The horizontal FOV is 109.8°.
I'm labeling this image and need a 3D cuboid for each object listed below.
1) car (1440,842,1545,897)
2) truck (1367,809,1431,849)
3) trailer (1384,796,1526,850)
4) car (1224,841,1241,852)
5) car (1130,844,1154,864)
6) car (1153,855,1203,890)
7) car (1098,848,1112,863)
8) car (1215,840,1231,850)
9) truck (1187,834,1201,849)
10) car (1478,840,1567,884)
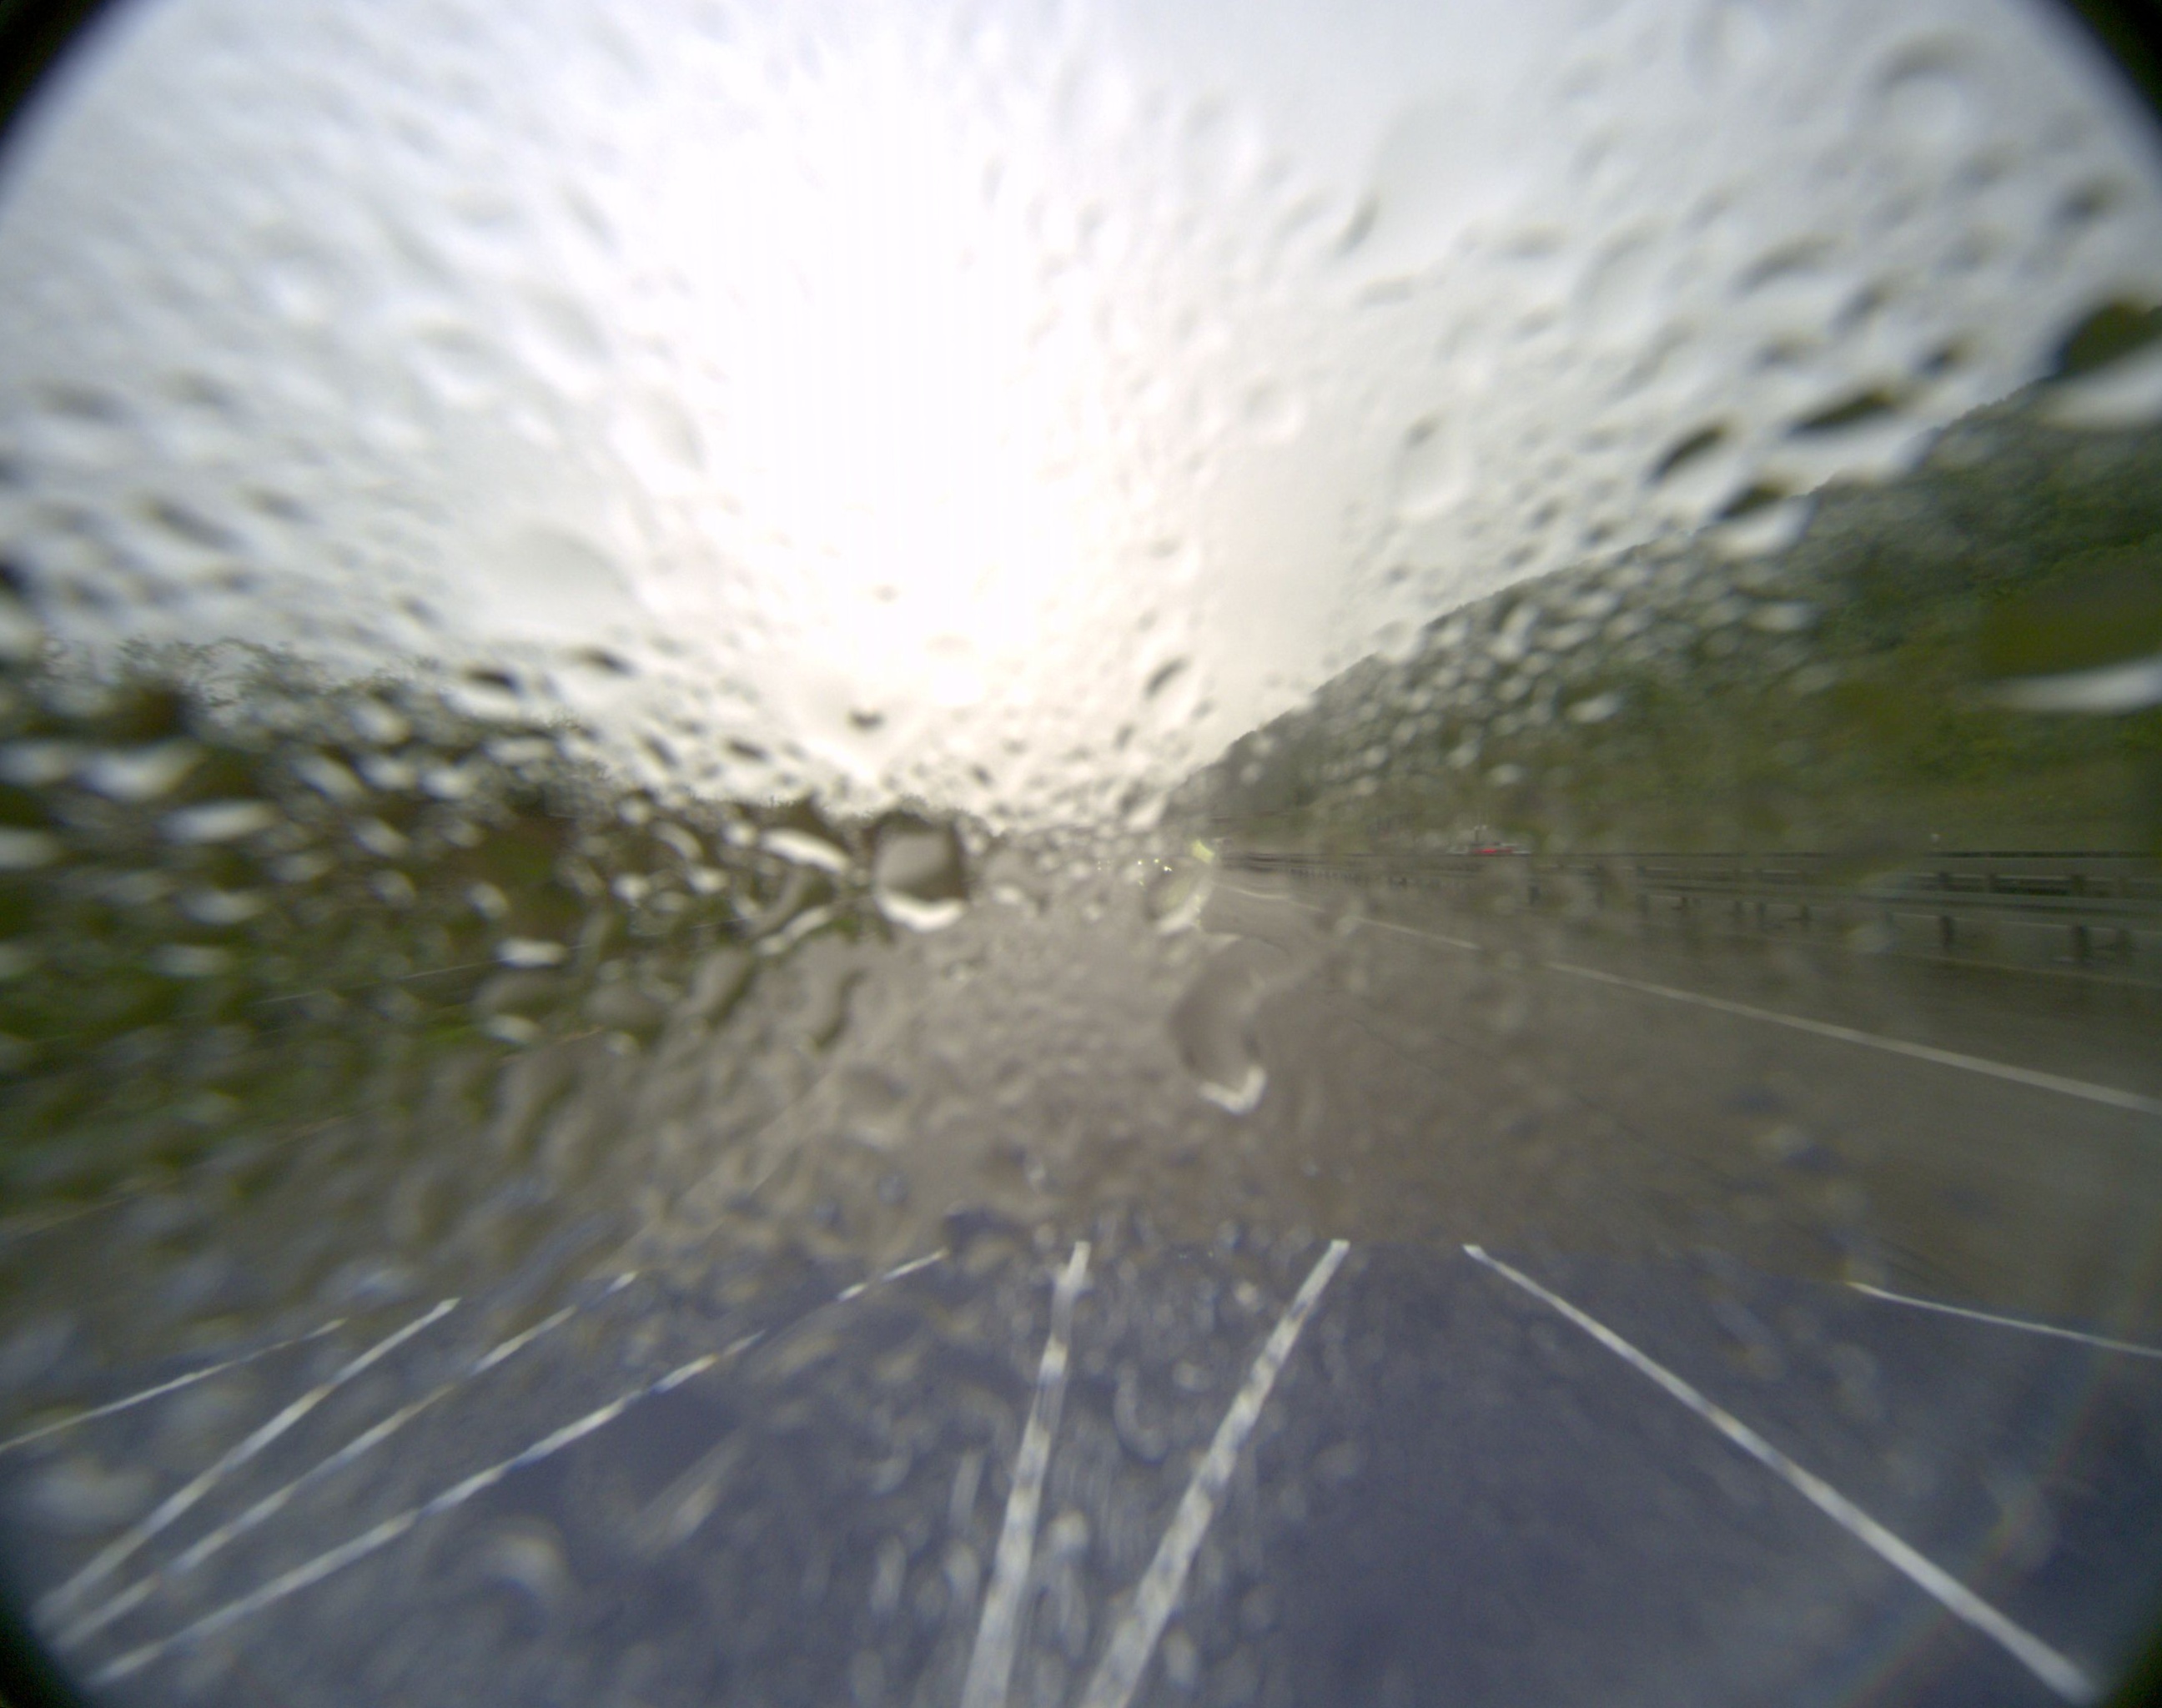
[{"bbox_3d":[16.123,0.564,30.007,1.998,2.002,4.000,-2,0,1],"label":"car"},{"bbox_3d":[24.988,-1.894,59.928,2.815,2.981,5.517,-2,0,2],"label":"truck"},{"bbox_3d":[24.727,-1.865,51.660,2.820,3.035,14.901,-2,0,2],"label":"trailer"},{"bbox_3d":[29.360,-1.523,147.545,2.393,2.002,4.704,-2,1,2],"label":"car"},{"bbox_3d":[5.504,-0.009,68.858,1.814,1.692,3.748,-2,1,0],"label":"car"},{"bbox_3d":[4.900,0.898,39.060,1.998,1.673,4.909,0,1,1],"label":"car"},{"bbox_3d":[3.393,0.163,108.980,1.836,2.002,3.938,-2,1,1],"label":"car"},{"bbox_3d":[29.561,-1.888,158.385,2.393,2.002,4.704,-2,1,2],"label":"car"},{"bbox_3d":[33.521,-3.700,225.948,3.293,4.402,5.735,-2,1,1],"label":"truck"},{"bbox_3d":[21.298,0.363,36.884,1.998,2.002,4.000,-2,0,1],"label":"car"}]
